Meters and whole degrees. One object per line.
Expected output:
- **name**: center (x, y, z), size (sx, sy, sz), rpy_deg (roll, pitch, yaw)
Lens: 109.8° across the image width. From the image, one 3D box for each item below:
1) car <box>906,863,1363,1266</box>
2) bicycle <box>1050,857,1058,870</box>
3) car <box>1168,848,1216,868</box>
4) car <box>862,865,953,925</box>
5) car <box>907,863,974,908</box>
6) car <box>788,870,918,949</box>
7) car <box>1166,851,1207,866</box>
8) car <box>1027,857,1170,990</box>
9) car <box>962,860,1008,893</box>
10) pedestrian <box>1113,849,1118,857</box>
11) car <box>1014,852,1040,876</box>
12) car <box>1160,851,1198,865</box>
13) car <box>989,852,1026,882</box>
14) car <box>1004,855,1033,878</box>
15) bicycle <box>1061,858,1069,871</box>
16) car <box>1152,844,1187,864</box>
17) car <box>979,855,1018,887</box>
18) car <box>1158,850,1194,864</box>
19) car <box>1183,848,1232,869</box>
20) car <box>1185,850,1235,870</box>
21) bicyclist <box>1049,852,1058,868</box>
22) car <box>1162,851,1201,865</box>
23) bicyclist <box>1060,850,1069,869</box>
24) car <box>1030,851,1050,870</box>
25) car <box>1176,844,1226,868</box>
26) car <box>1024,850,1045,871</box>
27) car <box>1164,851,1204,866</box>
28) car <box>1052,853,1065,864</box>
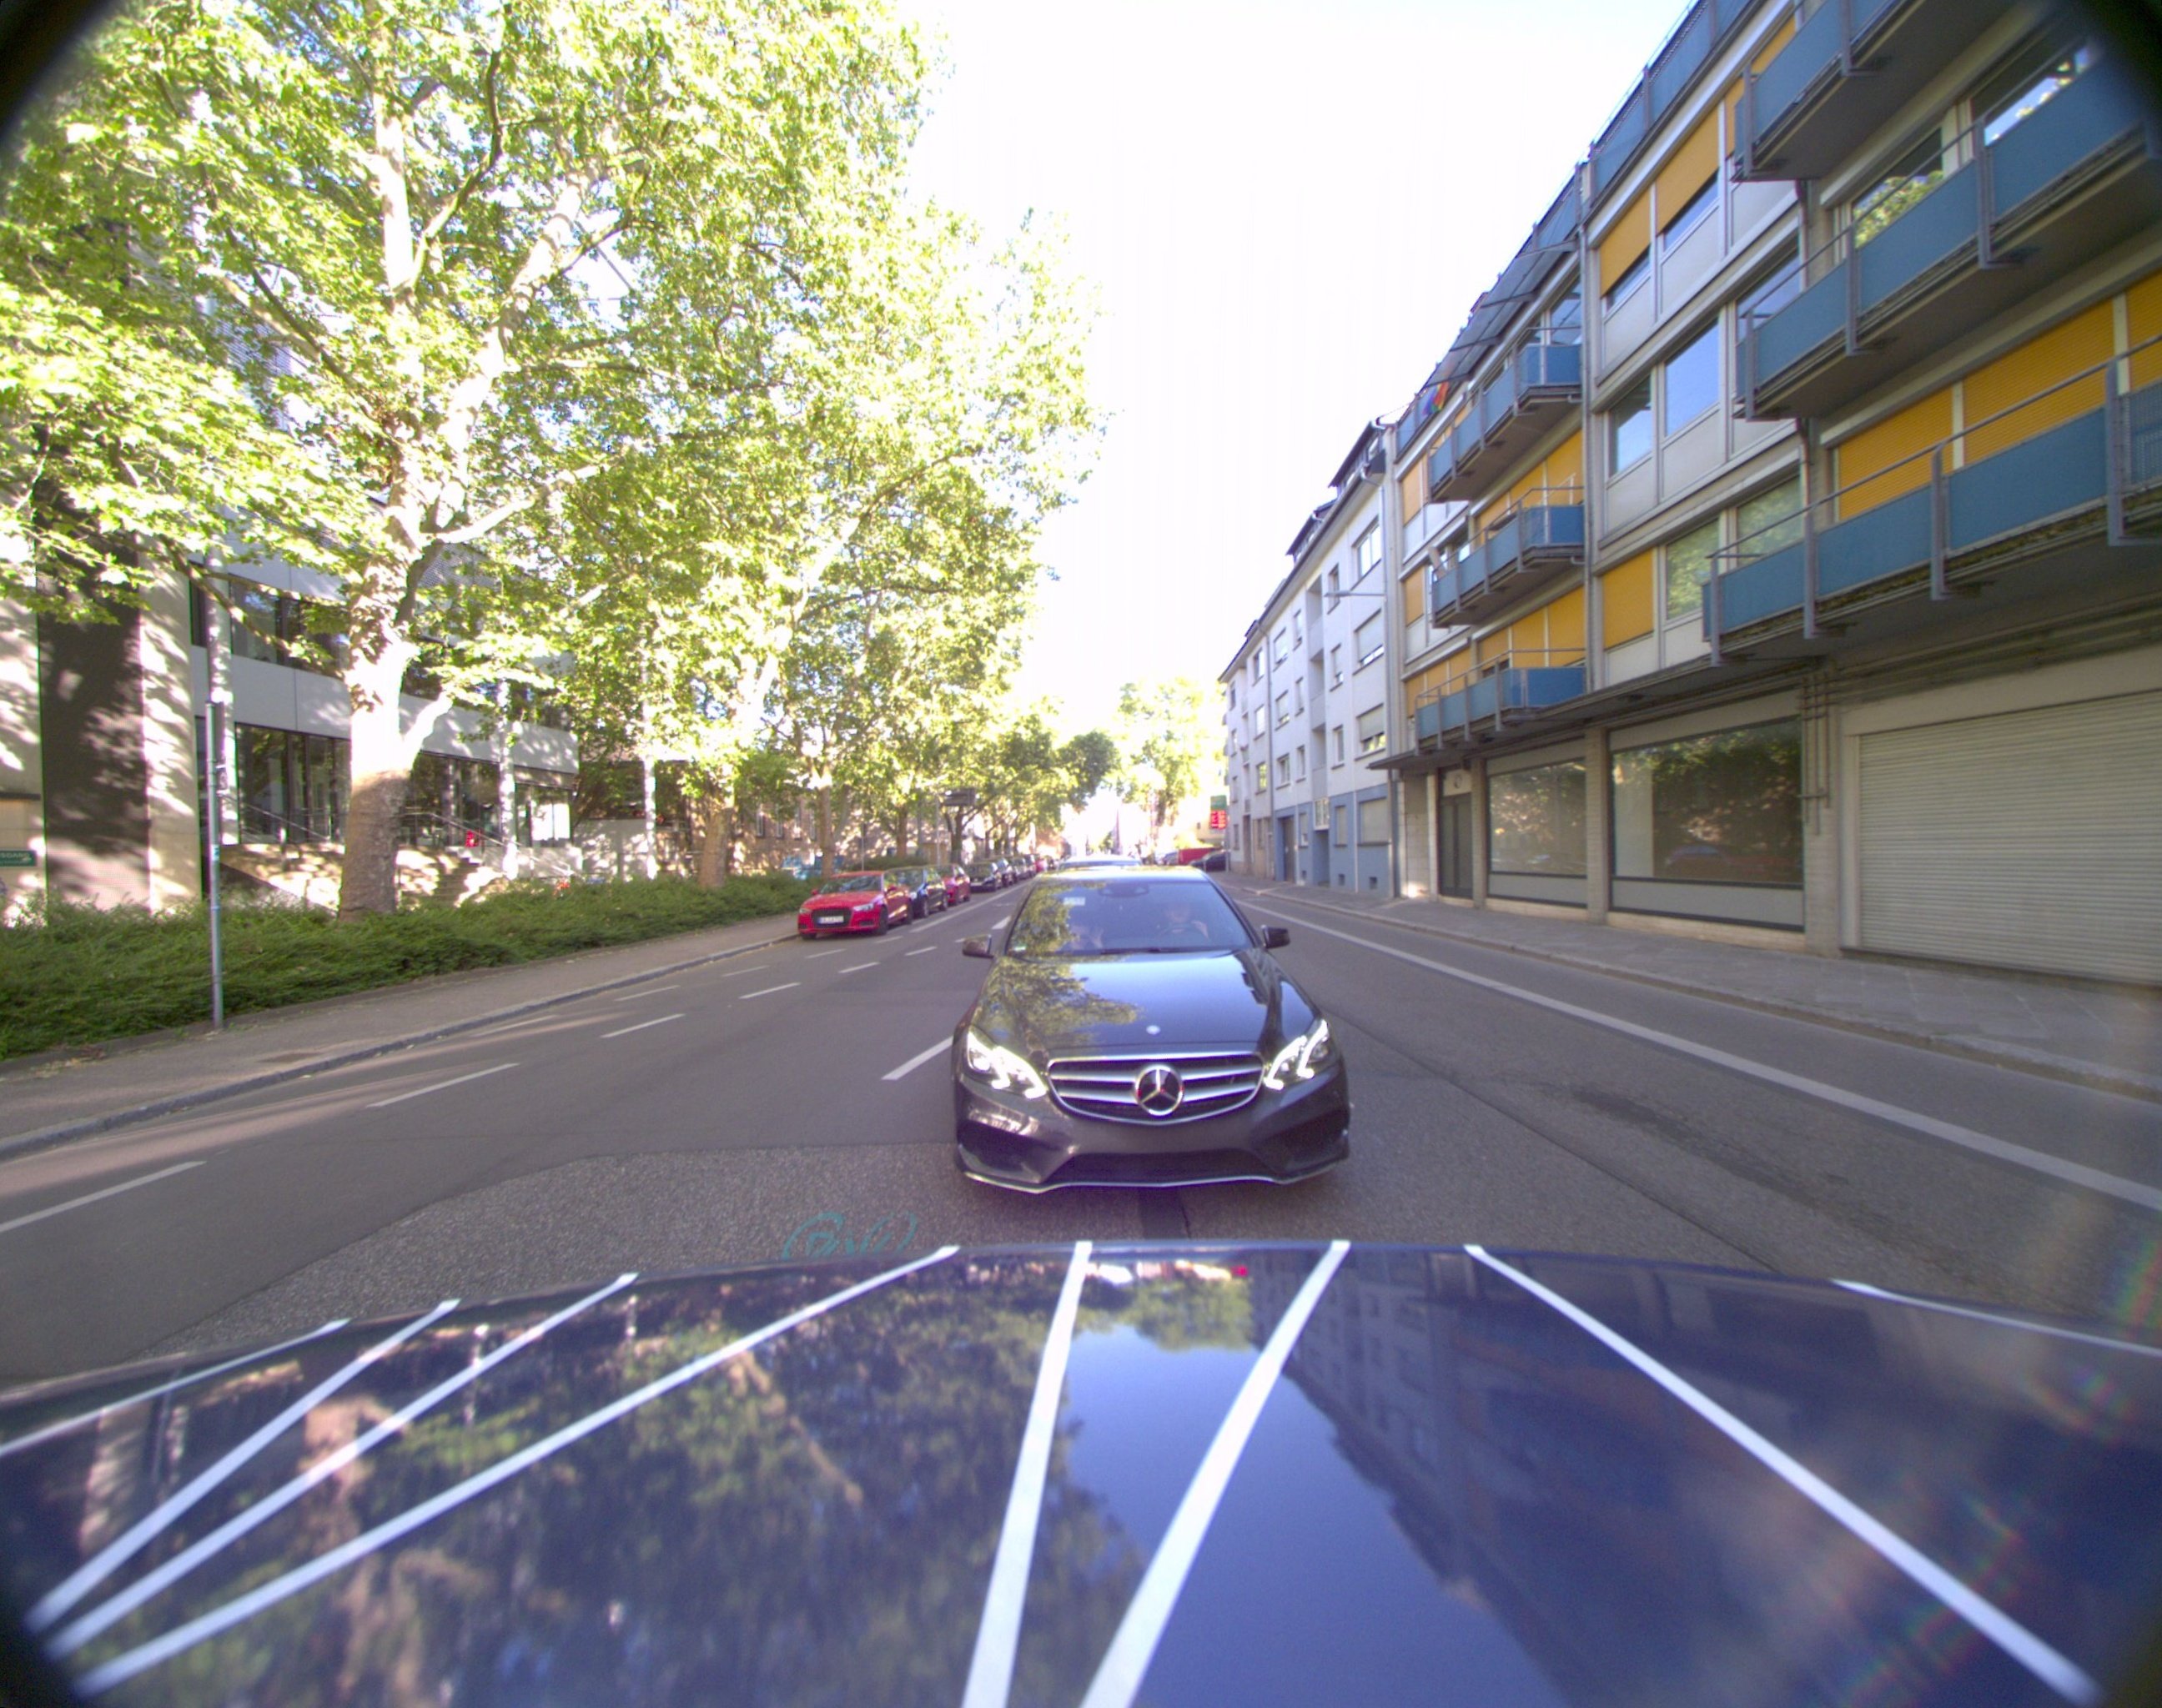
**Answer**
- **car**: center (0.218, 0.895, 5.274), size (1.828, 1.495, 4.293), rpy_deg (-2, 1, 0)
- **bicycle**: center (-2.555, 0.892, 71.634), size (0.667, 1.093, 1.814), rpy_deg (-2, 1, 0)
- **car**: center (9.724, 0.328, 66.765), size (3.905, 1.577, 1.603), rpy_deg (-2, 1, 2)
- **car**: center (-5.006, 1.130, 22.410), size (1.686, 1.458, 4.000), rpy_deg (-3, 0, 0)
- **car**: center (-5.002, 1.095, 27.595), size (1.666, 1.426, 3.781), rpy_deg (-2, 0, 0)
- **car**: center (-5.125, 1.190, 17.652), size (1.724, 1.412, 4.030), rpy_deg (-4, 0, -1)
- **car**: center (10.382, 0.450, 74.956), size (3.905, 1.366, 1.594), rpy_deg (-2, 1, 2)
- **car**: center (0.211, 0.880, 11.650), size (1.732, 1.538, 4.293), rpy_deg (-2, 1, 0)
- **car**: center (-4.658, 1.049, 37.396), size (1.686, 1.443, 4.000), rpy_deg (-2, 0, 0)
- **pedestrian**: center (8.966, -0.190, 198.401), size (0.882, 2.108, 0.822), rpy_deg (-1, 1, 32)
- **car**: center (-4.208, 0.755, 59.361), size (1.663, 1.704, 3.836), rpy_deg (-2, 0, 0)
- **car**: center (10.539, 0.398, 82.121), size (3.905, 1.325, 1.525), rpy_deg (-2, 1, 2)
- **car**: center (-4.586, 0.773, 48.181), size (1.819, 1.758, 4.431), rpy_deg (-2, 0, 0)
- **car**: center (-4.417, 0.877, 54.504), size (1.686, 1.552, 3.868), rpy_deg (-2, 0, 0)
- **bicycle**: center (-1.510, 0.955, 70.702), size (0.667, 1.093, 1.814), rpy_deg (-2, 1, 0)
- **car**: center (10.411, 0.023, 89.299), size (3.905, 2.164, 1.725), rpy_deg (-2, 1, 2)
- **car**: center (-4.529, 0.909, 42.055), size (1.686, 1.610, 3.836), rpy_deg (-2, 0, 0)
- **car**: center (10.551, 0.330, 84.806), size (3.782, 1.432, 1.539), rpy_deg (-2, 1, 2)
- **car**: center (10.137, 0.354, 61.126), size (3.668, 1.501, 1.602), rpy_deg (-2, 1, 2)
- **car**: center (9.968, 0.455, 58.721), size (3.598, 1.401, 1.534), rpy_deg (-2, 0, 2)
- **bicyclist**: center (-2.589, 0.584, 71.546), size (0.756, 1.512, 0.768), rpy_deg (-2, 1, -1)
- **car**: center (10.530, 0.425, 79.733), size (3.905, 1.325, 1.525), rpy_deg (-2, 1, 2)
- **bicyclist**: center (-1.551, 0.535, 70.638), size (0.756, 1.714, 0.768), rpy_deg (-2, 1, -1)
- **car**: center (-4.089, 0.638, 76.009), size (1.686, 1.749, 3.836), rpy_deg (-2, 0, 0)
- **car**: center (10.083, 0.163, 63.970), size (3.905, 1.895, 1.749), rpy_deg (-2, 1, 2)
- **car**: center (-4.243, 0.591, 70.218), size (1.646, 1.839, 3.836), rpy_deg (-2, 0, 0)
- **car**: center (10.413, 0.426, 76.978), size (3.905, 1.366, 1.594), rpy_deg (-2, 1, 2)
- **car**: center (-3.117, 0.652, 106.820), size (1.686, 1.475, 3.836), rpy_deg (-2, 0, 0)
